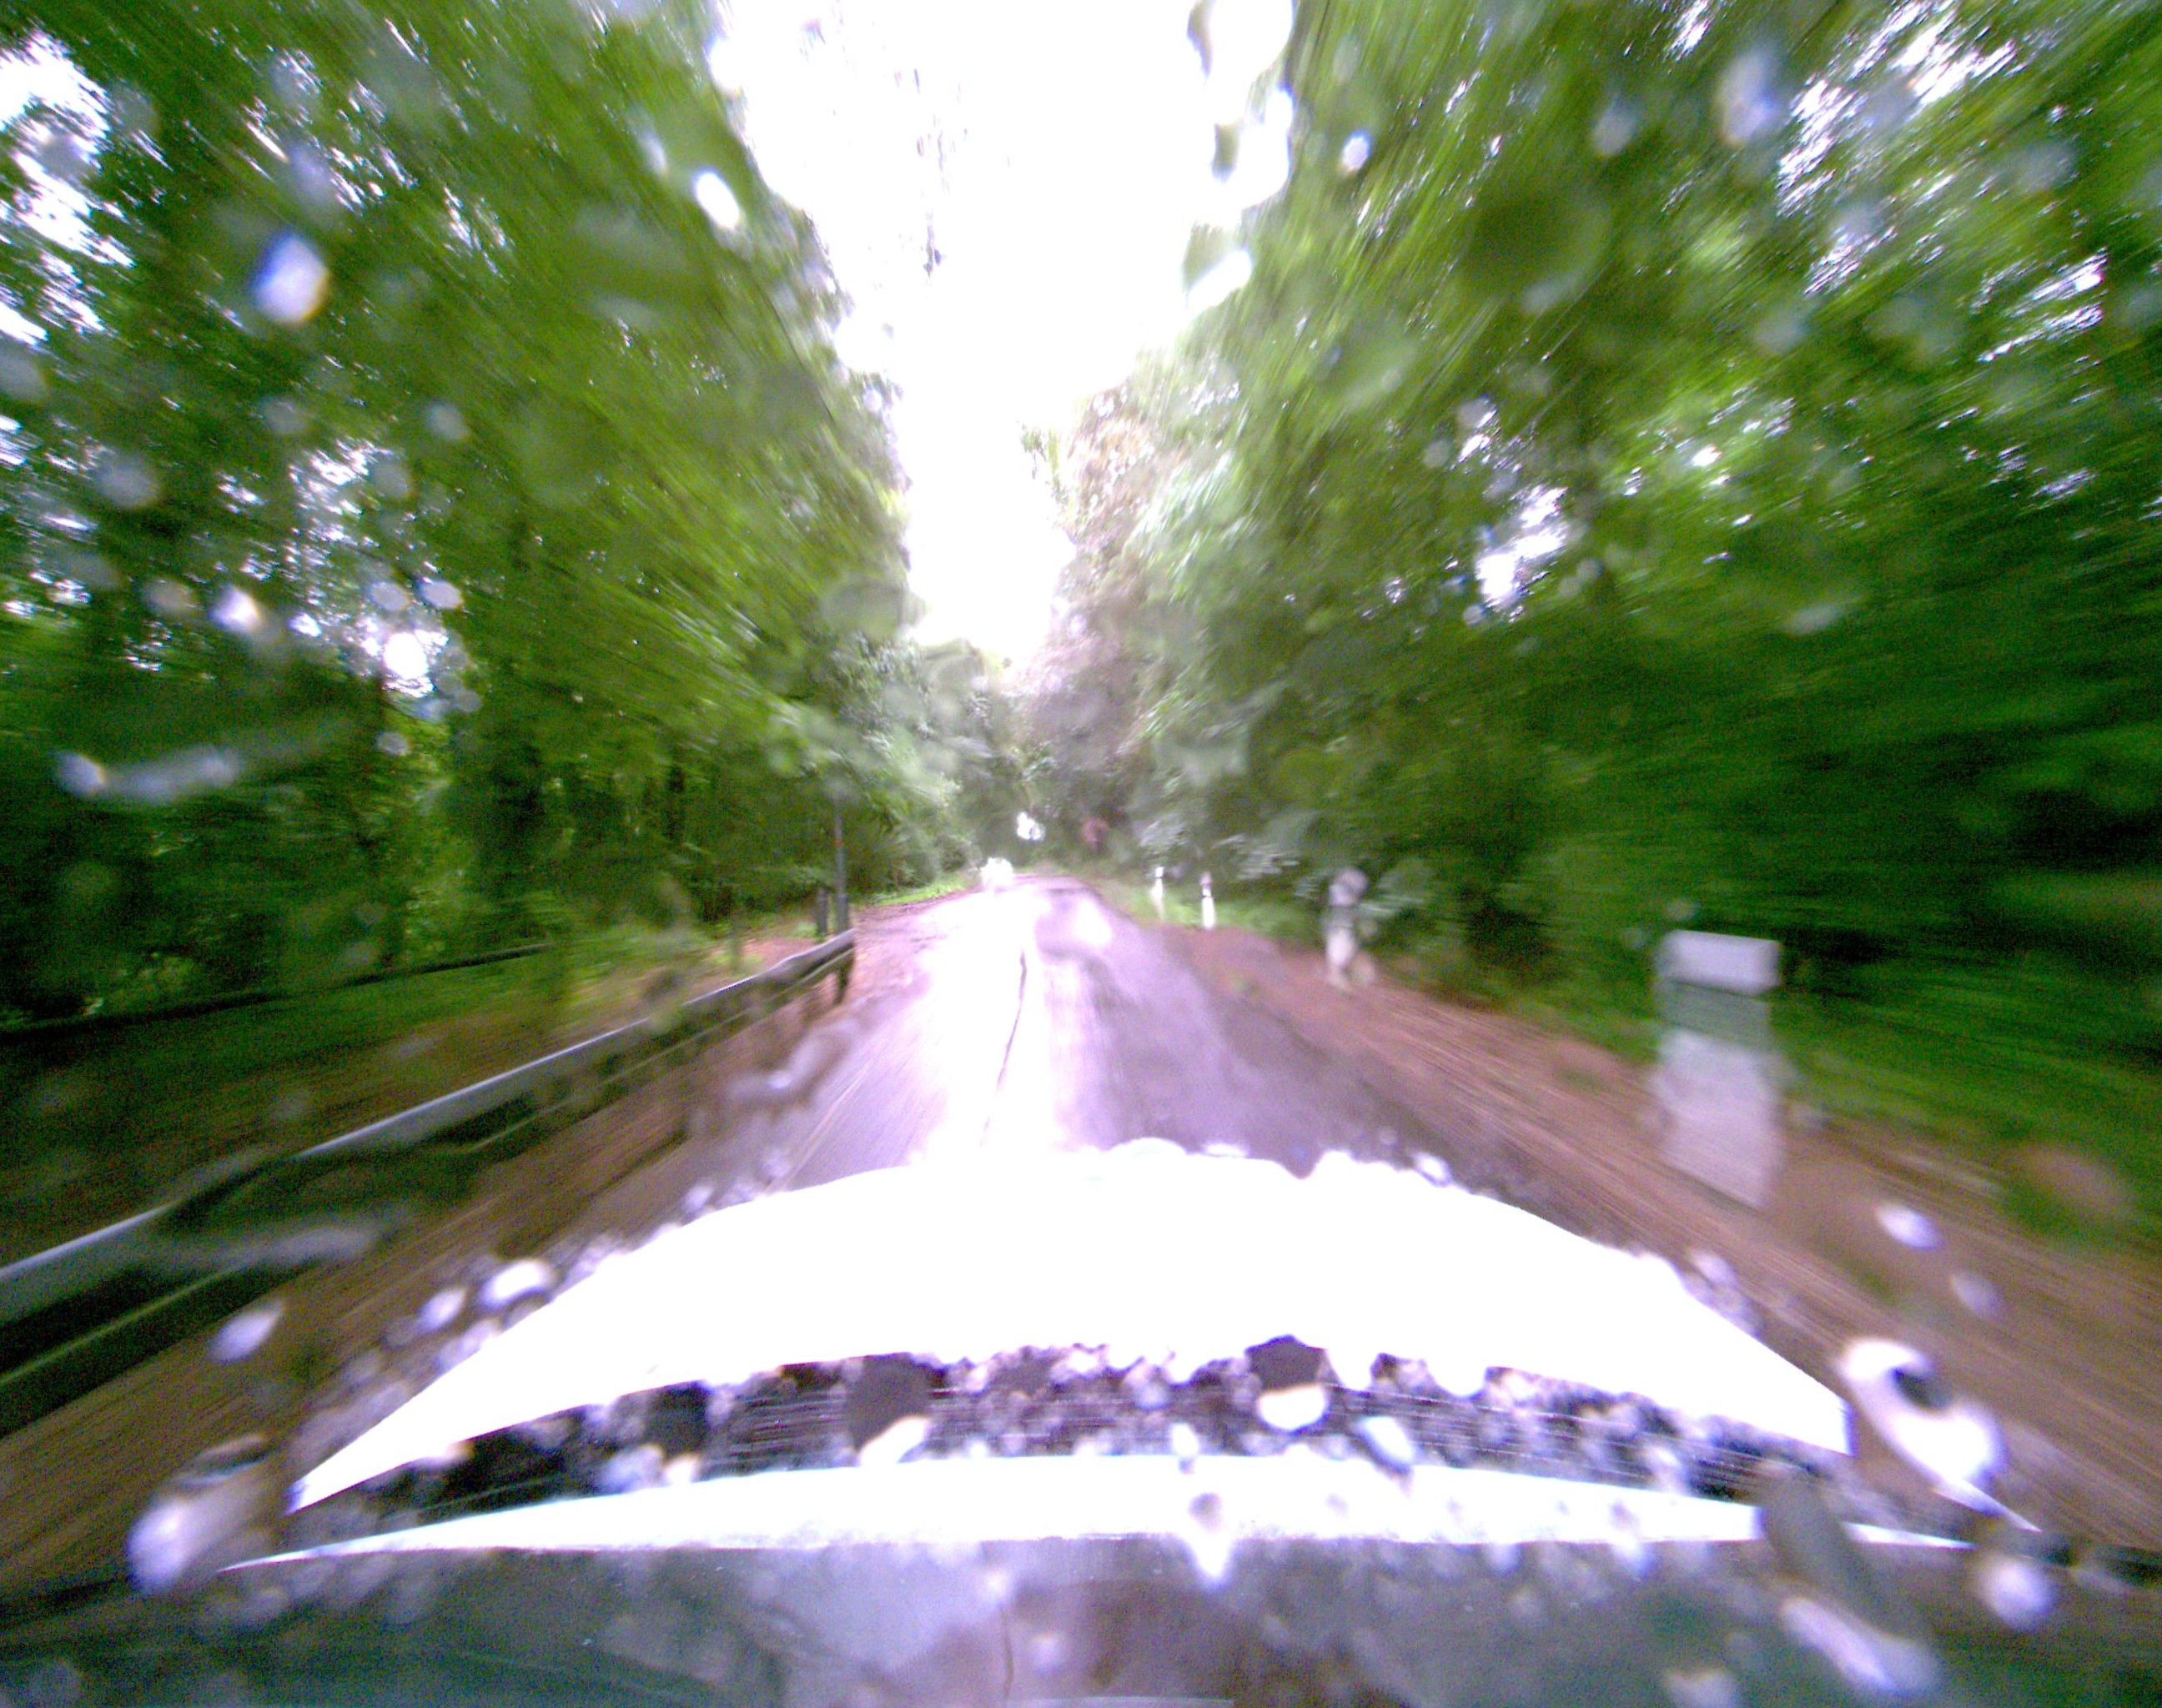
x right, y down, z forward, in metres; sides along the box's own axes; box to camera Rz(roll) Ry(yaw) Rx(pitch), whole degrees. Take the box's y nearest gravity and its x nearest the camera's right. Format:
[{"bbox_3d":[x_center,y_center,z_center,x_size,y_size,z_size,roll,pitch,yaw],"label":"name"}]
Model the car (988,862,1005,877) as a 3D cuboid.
[{"bbox_3d":[-9.037,1.654,86.957,1.712,1.475,3.881,-3,0,-7],"label":"car"}]
